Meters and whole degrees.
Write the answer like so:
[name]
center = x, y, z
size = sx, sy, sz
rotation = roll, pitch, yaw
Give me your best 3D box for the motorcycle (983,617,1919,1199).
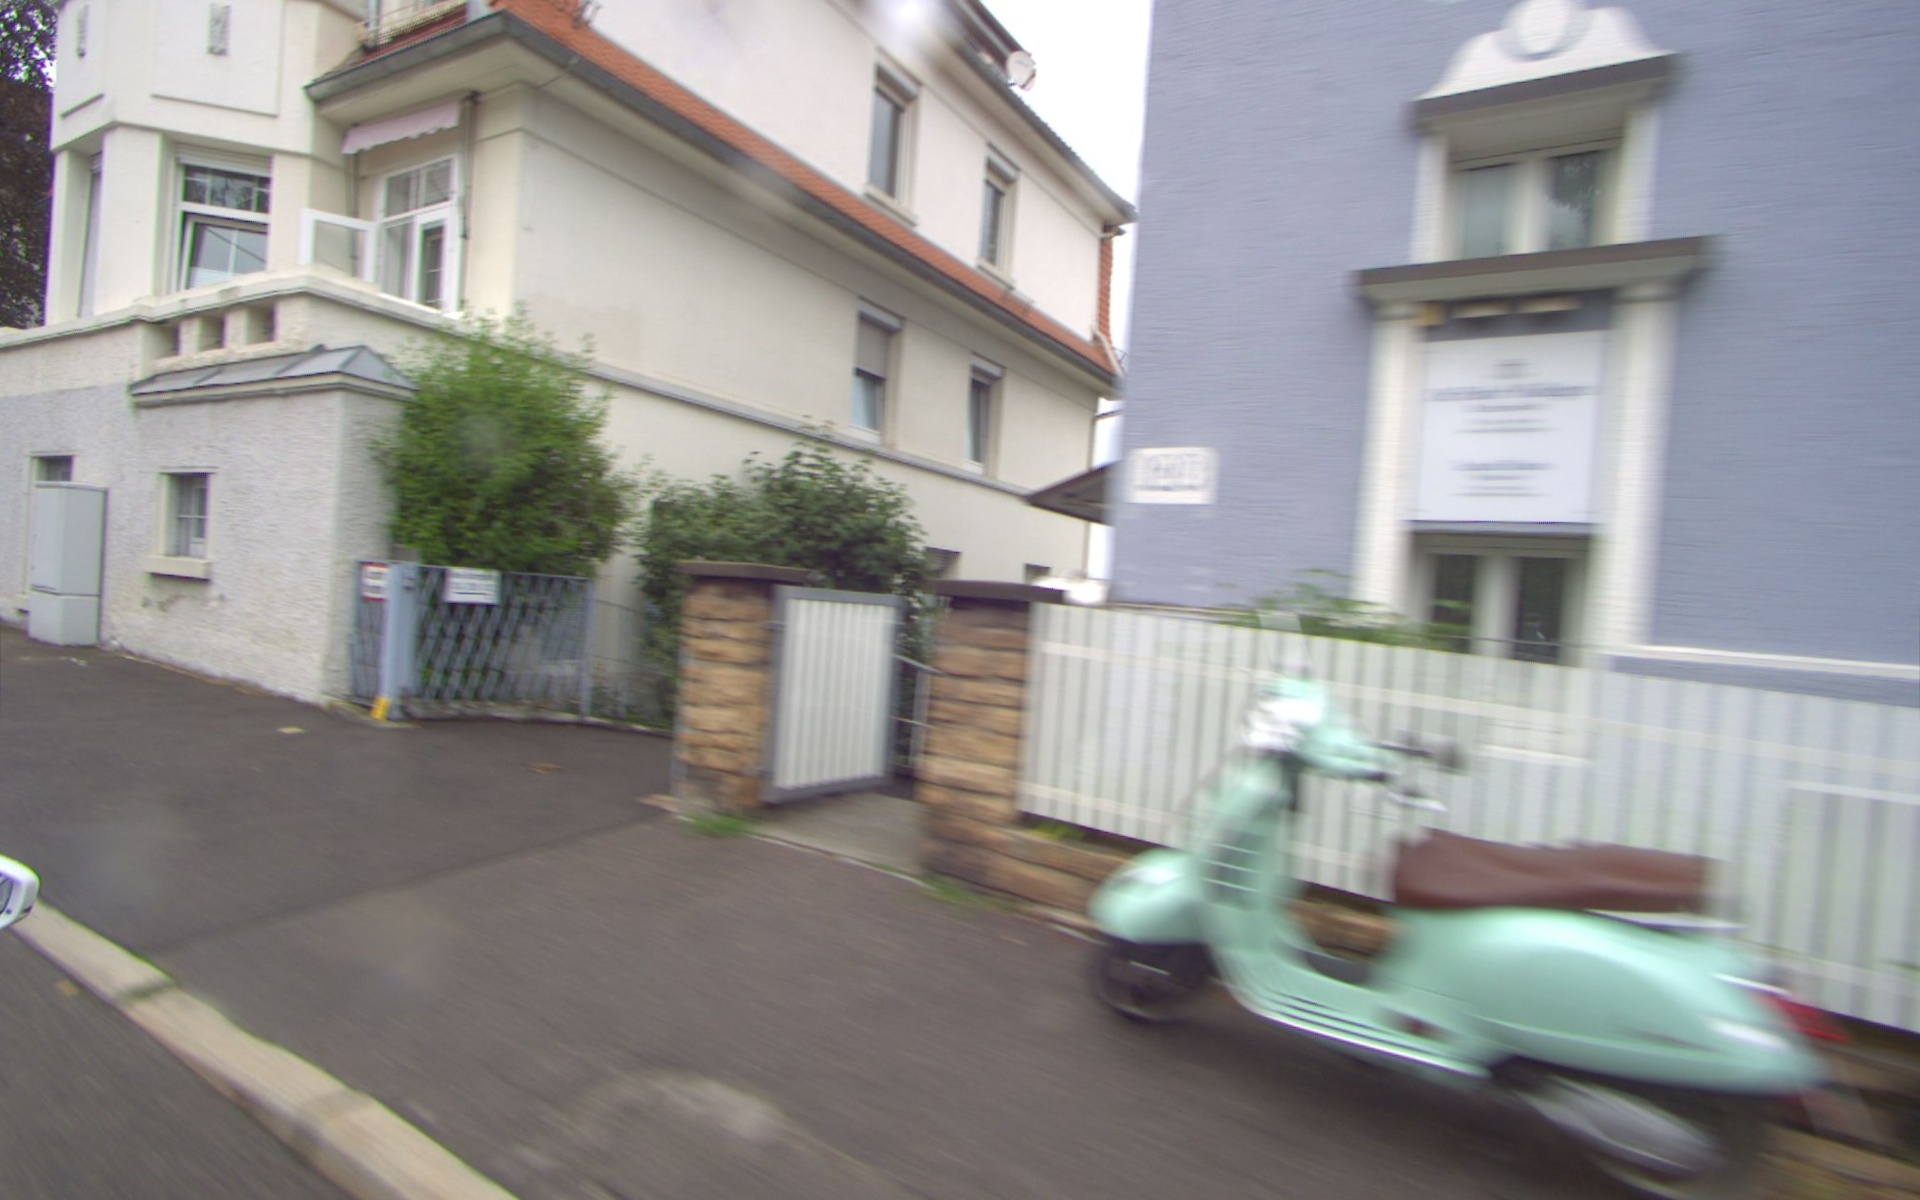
[motorcycle]
center = 1.151, 0.792, 2.883
size = 2.120, 1.244, 0.691
rotation = 7, 7, 36
